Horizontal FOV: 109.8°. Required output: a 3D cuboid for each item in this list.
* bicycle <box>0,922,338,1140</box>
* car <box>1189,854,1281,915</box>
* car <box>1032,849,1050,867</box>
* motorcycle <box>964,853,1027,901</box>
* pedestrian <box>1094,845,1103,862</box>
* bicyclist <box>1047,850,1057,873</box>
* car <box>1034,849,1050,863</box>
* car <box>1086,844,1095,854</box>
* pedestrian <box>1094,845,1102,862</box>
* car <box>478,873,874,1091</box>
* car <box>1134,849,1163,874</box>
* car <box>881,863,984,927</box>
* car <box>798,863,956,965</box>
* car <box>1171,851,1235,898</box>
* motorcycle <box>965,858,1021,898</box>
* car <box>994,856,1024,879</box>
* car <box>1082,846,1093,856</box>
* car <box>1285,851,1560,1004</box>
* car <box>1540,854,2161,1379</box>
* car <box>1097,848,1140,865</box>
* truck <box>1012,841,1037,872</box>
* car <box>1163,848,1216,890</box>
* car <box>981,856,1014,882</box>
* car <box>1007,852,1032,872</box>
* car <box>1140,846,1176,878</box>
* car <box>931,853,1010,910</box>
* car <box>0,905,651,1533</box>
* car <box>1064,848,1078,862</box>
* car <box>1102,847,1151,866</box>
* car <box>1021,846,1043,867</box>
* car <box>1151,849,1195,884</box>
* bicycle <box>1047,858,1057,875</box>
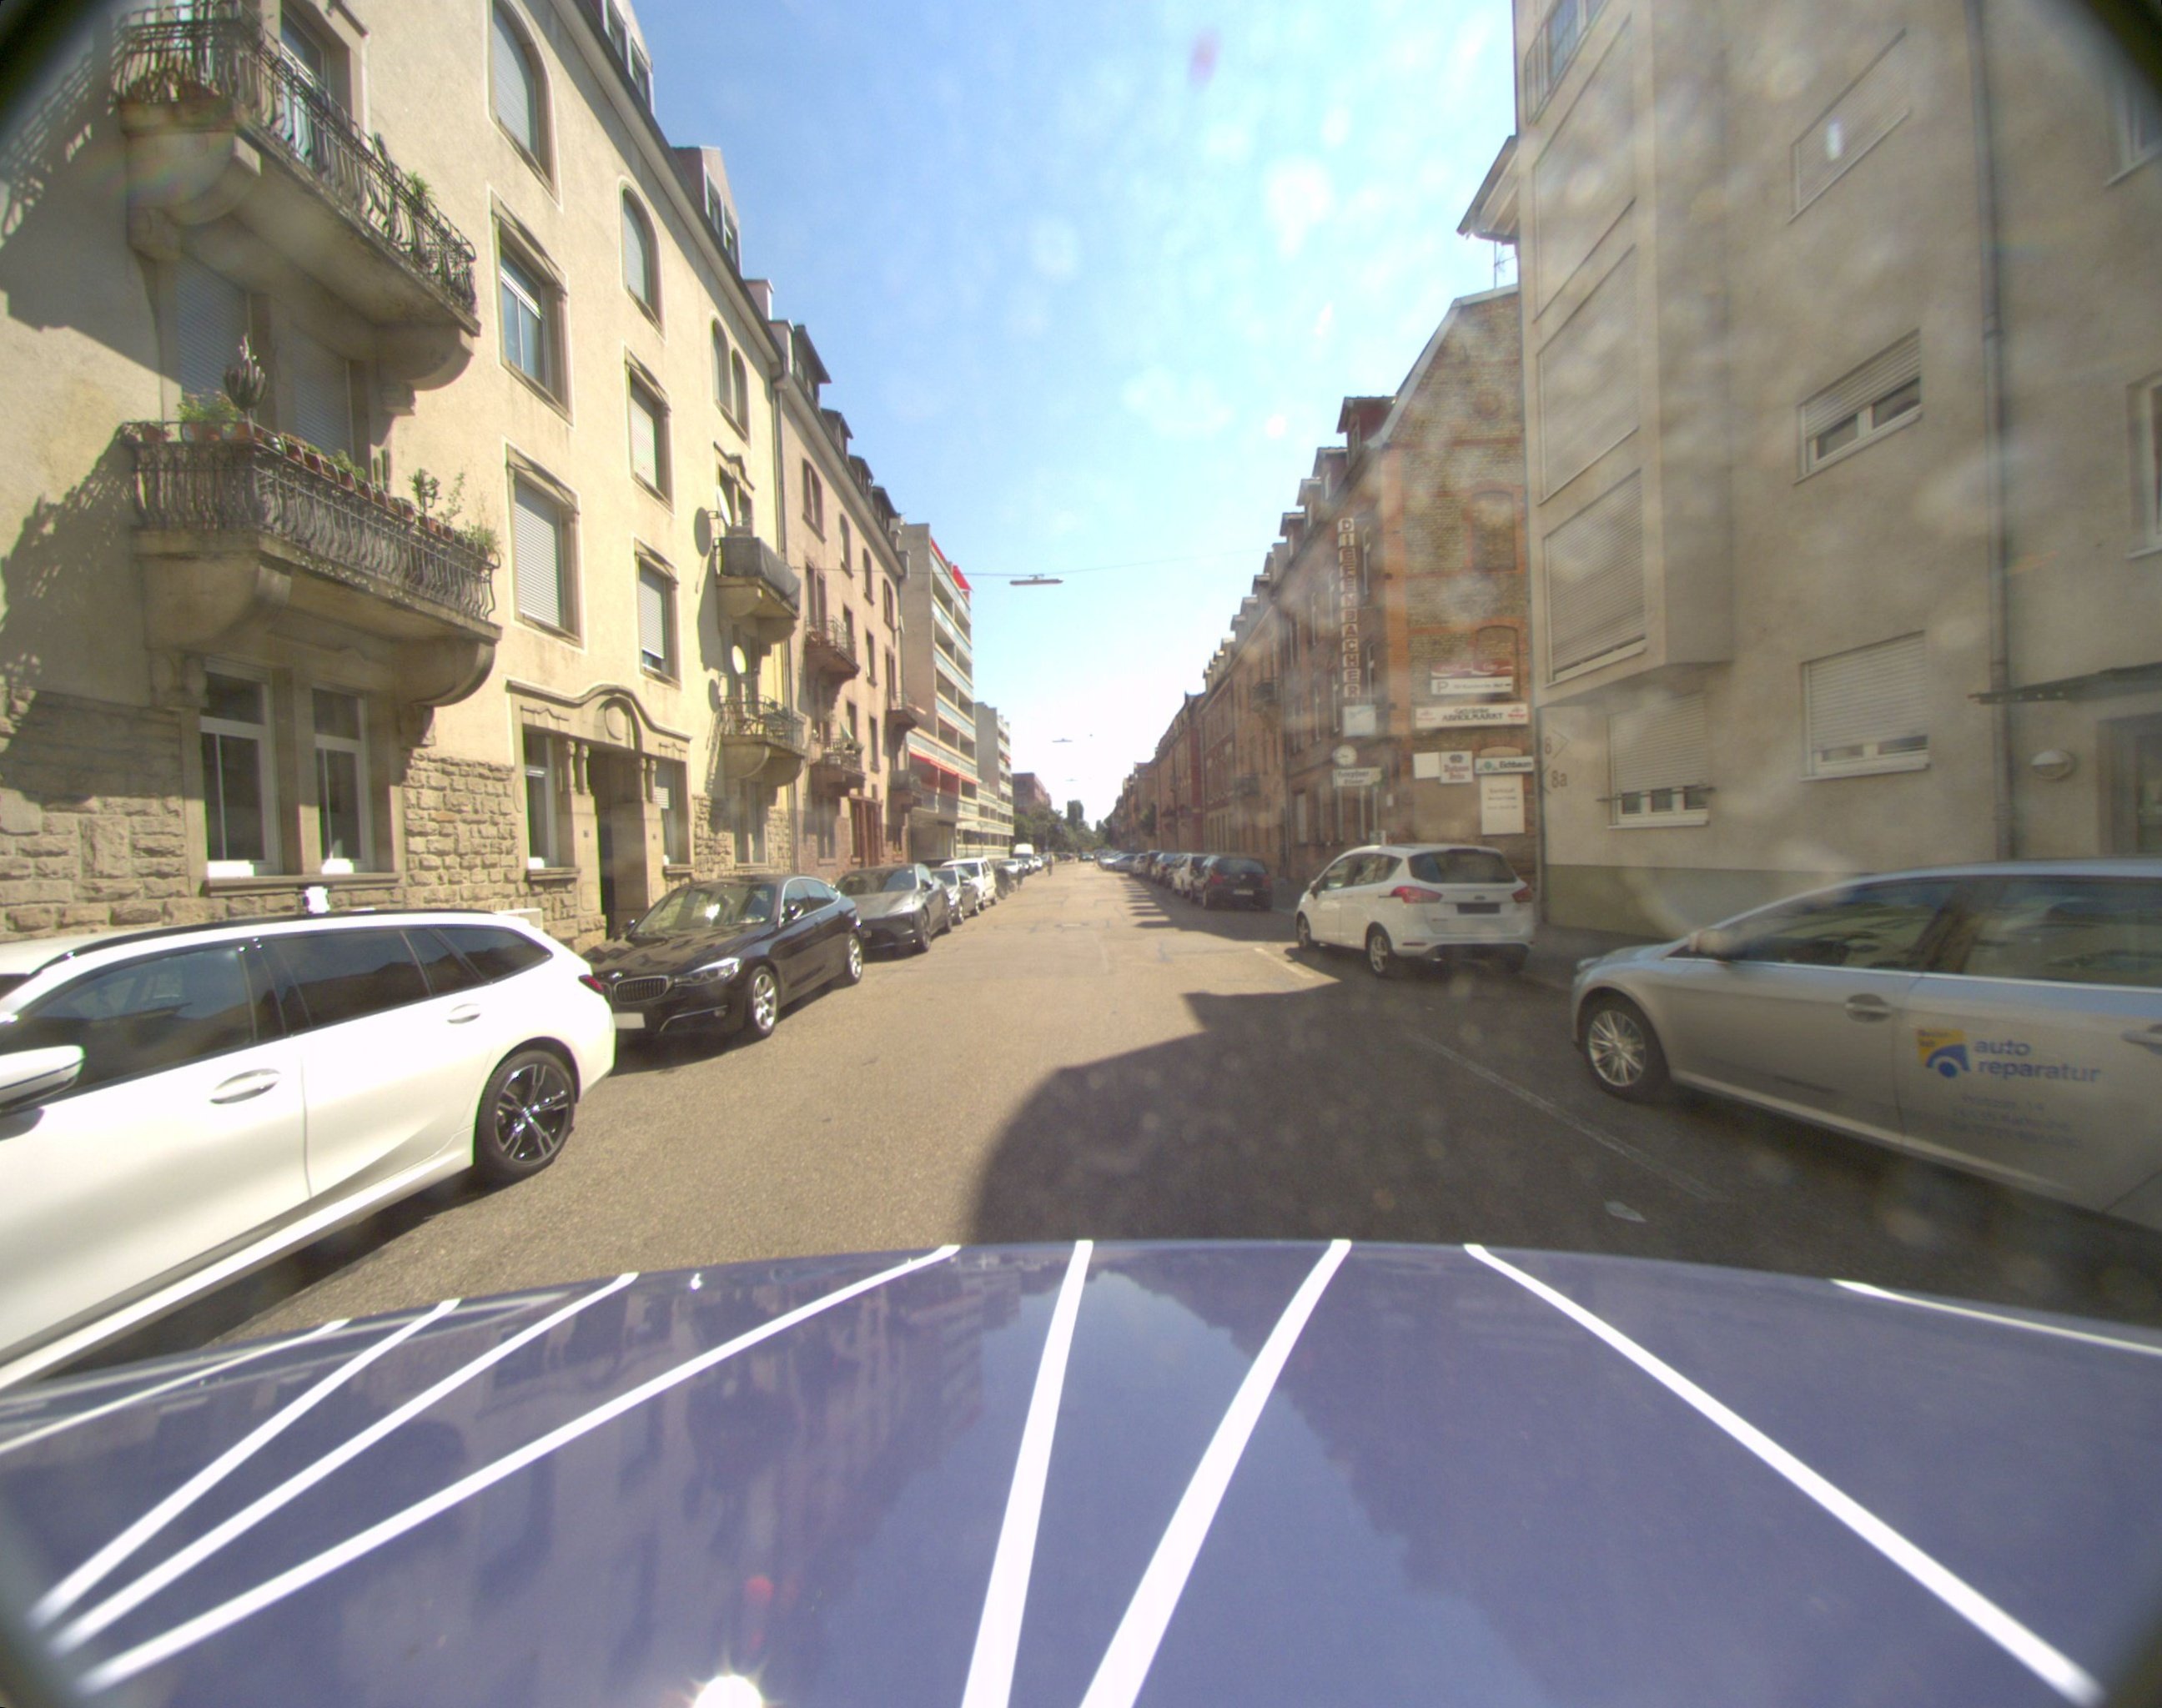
[{"bbox_3d":[-7.234,1.245,5.994,0.641,1.183,2.125,2,1,1],"label":"bicycle"},{"bbox_3d":[4.111,0.759,20.915,1.781,1.421,3.836,2,1,1],"label":"car"},{"bbox_3d":[-4.945,0.459,93.679,1.902,2.002,3.999,-2,1,0],"label":"car"},{"bbox_3d":[-3.244,0.864,28.960,2.197,1.613,0.764,-7,2,-41],"label":"motorcycle"},{"bbox_3d":[1.932,-0.081,85.332,0.883,1.823,0.874,-3,1,1],"label":"pedestrian"},{"bbox_3d":[-2.205,0.565,57.535,0.645,1.640,0.622,-2,1,0],"label":"bicyclist"},{"bbox_3d":[-5.158,0.237,101.305,1.793,1.845,3.999,-2,1,0],"label":"car"},{"bbox_3d":[2.004,-1.139,159.971,1.785,2.002,4.000,-2,1,3],"label":"car"},{"bbox_3d":[1.886,-0.070,84.729,0.883,1.823,0.874,-3,1,1],"label":"pedestrian"},{"bbox_3d":[-3.760,1.048,8.205,1.741,1.449,4.667,-2,1,0],"label":"car"},{"bbox_3d":[4.062,0.445,46.335,1.450,1.391,3.525,2,1,0],"label":"car"},{"bbox_3d":[-3.715,0.986,19.808,1.791,1.350,4.351,-2,0,0],"label":"car"},{"bbox_3d":[-3.566,0.963,14.165,1.828,1.424,4.488,-3,1,-2],"label":"car"},{"bbox_3d":[4.088,0.637,25.988,1.632,1.421,3.678,2,1,1],"label":"car"},{"bbox_3d":[-3.732,1.006,32.227,2.197,1.422,0.732,-7,2,-40],"label":"motorcycle"},{"bbox_3d":[-5.156,0.923,54.921,1.754,1.485,3.902,-2,1,0],"label":"car"},{"bbox_3d":[0.982,-0.497,119.851,1.625,1.601,3.596,-2,1,0],"label":"car"},{"bbox_3d":[4.146,0.779,9.981,1.633,1.540,3.851,2,1,-4],"label":"car"},{"bbox_3d":[4.020,0.791,2.961,1.735,1.486,4.347,1,1,-1],"label":"car"},{"bbox_3d":[3.586,0.257,73.358,3.997,1.491,1.652,-2,1,1],"label":"car"},{"bbox_3d":[-5.254,0.172,71.263,1.869,2.715,4.507,-2,1,0],"label":"truck"},{"bbox_3d":[4.334,0.546,30.857,1.450,1.534,3.524,2,1,-3],"label":"car"},{"bbox_3d":[-5.464,0.961,50.112,1.754,1.485,3.902,-2,1,0],"label":"car"},{"bbox_3d":[-5.170,0.625,64.571,1.717,1.543,3.999,-2,1,0],"label":"car"},{"bbox_3d":[4.157,0.393,41.398,1.450,1.633,3.525,2,1,-1],"label":"car"},{"bbox_3d":[-3.514,0.820,24.845,1.652,1.613,4.092,-1,1,4],"label":"car"},{"bbox_3d":[-3.789,1.153,2.666,1.720,1.444,4.597,-4,1,2],"label":"car"},{"bbox_3d":[-1.470,0.147,112.928,1.826,2.002,3.867,-2,1,0],"label":"car"},{"bbox_3d":[3.733,0.225,63.058,3.997,1.422,1.677,-2,1,1],"label":"car"},{"bbox_3d":[-4.900,0.223,76.618,1.902,2.002,3.999,-2,1,0],"label":"car"},{"bbox_3d":[4.198,0.531,35.202,1.450,1.464,3.524,2,1,-2],"label":"car"},{"bbox_3d":[-2.198,0.934,57.478,0.671,1.169,2.094,-2,1,1],"label":"bicycle"}]
